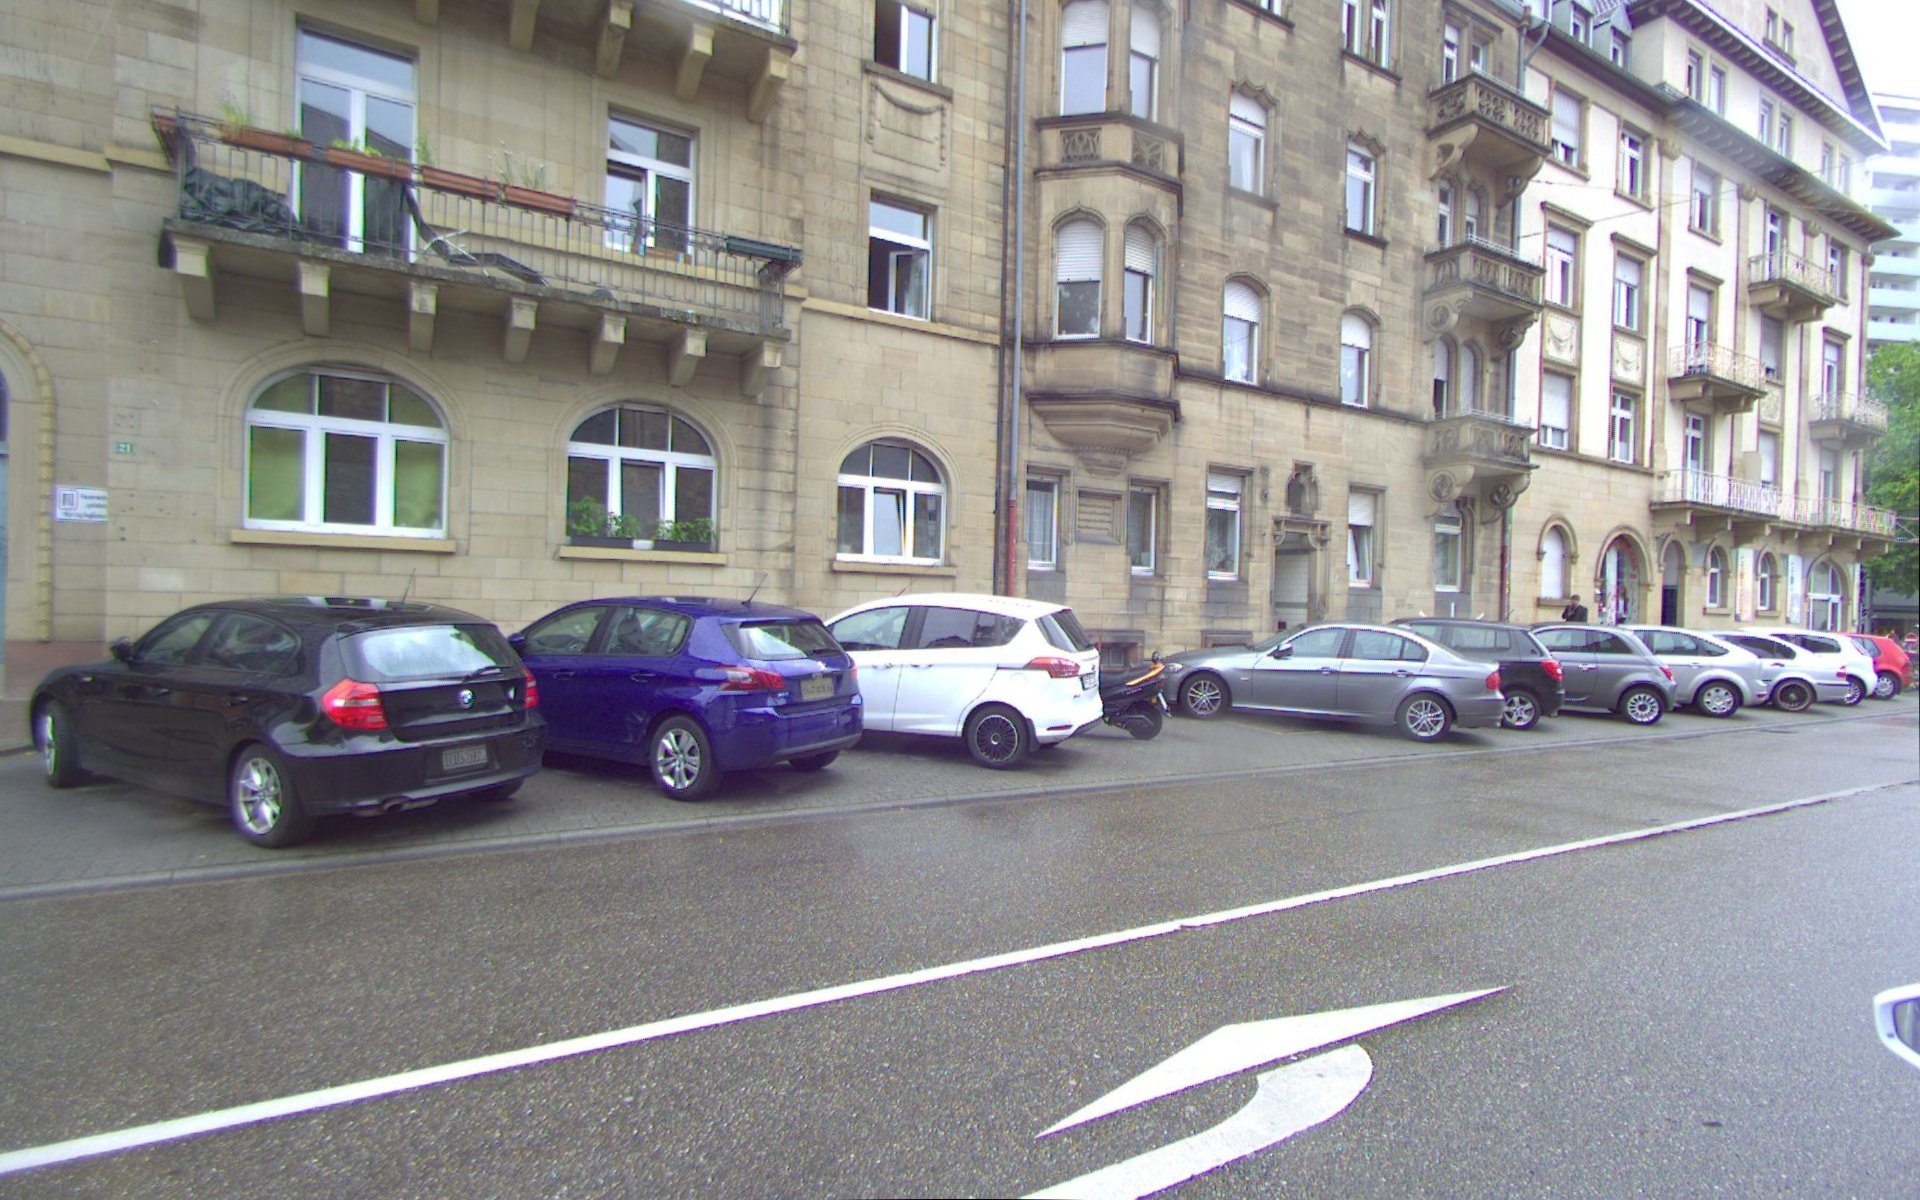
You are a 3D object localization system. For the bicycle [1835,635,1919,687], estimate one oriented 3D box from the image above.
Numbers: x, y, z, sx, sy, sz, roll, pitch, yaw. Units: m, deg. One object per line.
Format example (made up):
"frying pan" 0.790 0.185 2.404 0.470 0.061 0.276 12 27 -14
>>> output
"bicycle" 24.647 1.615 26.865 0.601 1.283 1.754 2 -1 -31

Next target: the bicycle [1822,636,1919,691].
"bicycle" 22.949 1.575 25.331 0.516 1.283 1.754 1 -1 -31

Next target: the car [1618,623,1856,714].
"car" 15.248 1.300 19.925 3.337 1.578 1.705 1 0 21

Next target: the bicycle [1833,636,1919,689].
"bicycle" 23.920 1.606 26.085 0.492 1.283 1.801 1 -1 -31

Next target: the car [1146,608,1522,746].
"car" 4.875 0.948 13.576 4.457 1.565 1.689 1 0 17

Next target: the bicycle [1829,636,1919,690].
"bicycle" 23.404 1.581 25.625 0.492 1.283 1.801 1 -1 -31

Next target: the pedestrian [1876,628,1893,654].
"pedestrian" 56.791 2.519 61.676 0.631 1.550 0.443 1 0 -4

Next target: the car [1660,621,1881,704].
"car" 17.410 1.296 21.769 3.337 1.578 1.705 1 0 21

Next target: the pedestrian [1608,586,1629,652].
"pedestrian" 18.488 0.529 28.196 0.343 1.846 0.364 2 -1 -32

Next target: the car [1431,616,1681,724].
"car" 9.845 1.101 16.878 3.337 1.578 1.652 1 0 21

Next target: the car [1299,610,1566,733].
"car" 7.059 1.016 15.330 3.484 1.619 1.605 1 0 21

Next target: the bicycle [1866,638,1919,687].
"bicycle" 25.578 1.683 26.980 0.601 1.283 1.754 2 -1 -31

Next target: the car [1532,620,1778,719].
"car" 12.512 1.195 18.334 3.337 1.578 1.705 1 0 21

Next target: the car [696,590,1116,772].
"car" -0.523 0.729 10.452 3.964 1.576 1.799 1 -1 19

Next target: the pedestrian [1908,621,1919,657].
"pedestrian" 49.847 2.011 52.186 0.683 1.850 0.618 1 -1 -17

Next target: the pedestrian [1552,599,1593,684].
"pedestrian" 14.850 0.994 24.357 0.647 2.040 0.565 1 0 -30

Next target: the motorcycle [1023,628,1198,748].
"motorcycle" 1.727 0.971 11.567 1.837 1.177 0.633 4 1 23

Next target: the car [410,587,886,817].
"car" -2.800 0.723 8.833 3.972 1.594 1.795 1 -1 31

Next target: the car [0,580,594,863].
"car" -4.763 0.662 7.170 3.969 1.532 1.797 1 -1 27

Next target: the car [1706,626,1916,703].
"car" 19.704 1.449 23.428 3.337 1.578 1.705 1 0 21
